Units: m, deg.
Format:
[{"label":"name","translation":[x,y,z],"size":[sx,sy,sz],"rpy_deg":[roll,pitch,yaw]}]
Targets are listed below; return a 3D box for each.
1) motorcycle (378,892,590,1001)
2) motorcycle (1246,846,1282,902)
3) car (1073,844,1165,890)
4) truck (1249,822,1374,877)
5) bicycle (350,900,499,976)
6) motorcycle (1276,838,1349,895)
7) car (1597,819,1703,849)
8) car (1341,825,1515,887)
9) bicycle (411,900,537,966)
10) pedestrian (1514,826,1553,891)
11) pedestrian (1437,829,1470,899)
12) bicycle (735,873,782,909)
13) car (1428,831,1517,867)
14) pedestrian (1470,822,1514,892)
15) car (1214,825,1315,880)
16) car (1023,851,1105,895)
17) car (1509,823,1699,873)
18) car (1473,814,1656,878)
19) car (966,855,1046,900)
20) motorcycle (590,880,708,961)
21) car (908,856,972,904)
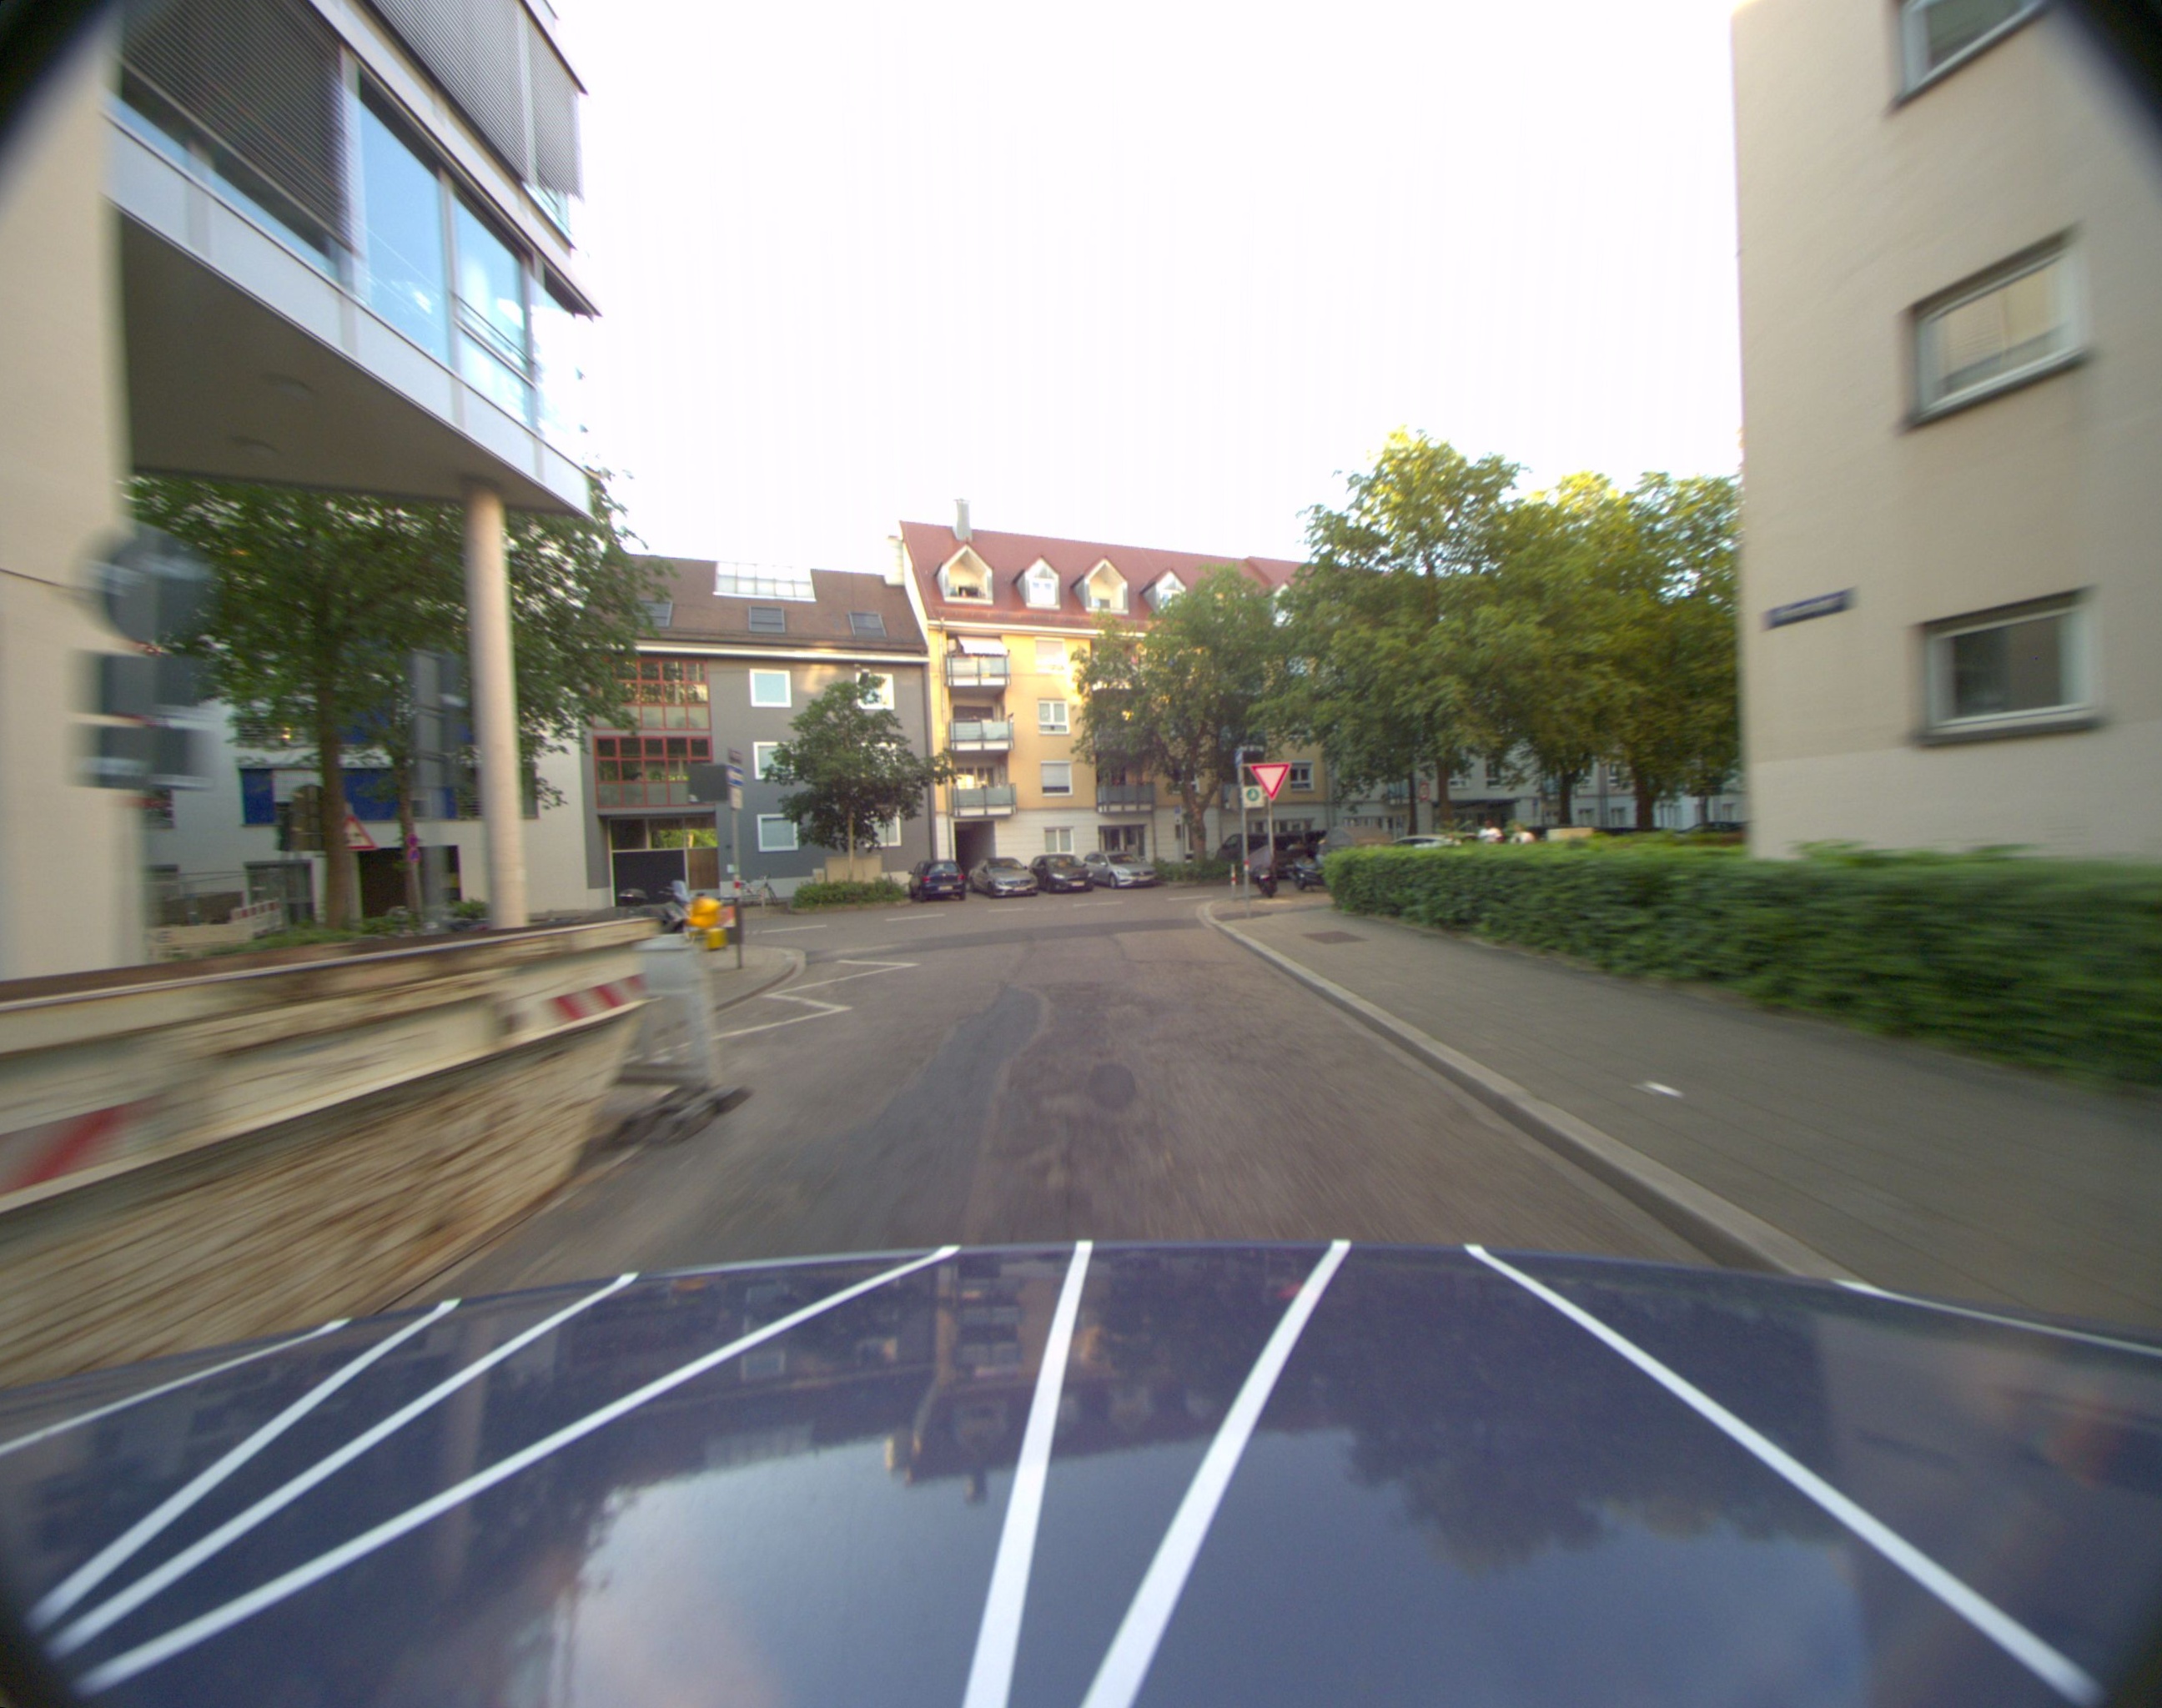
[{"label":"motorcycle","translation":[-8.003,1.207,10.308],"size":[2.128,1.266,0.615],"rpy_deg":[-2,0,-22]},{"label":"motorcycle","translation":[4.816,0.492,20.122],"size":[0.722,1.366,2.226],"rpy_deg":[-3,1,10]},{"label":"car","translation":[1.489,0.527,31.721],"size":[1.838,1.694,4.803],"rpy_deg":[-3,0,-23]},{"label":"truck","translation":[10.352,-0.313,34.776],"size":[2.263,2.122,6.009],"rpy_deg":[-3,4,-21]},{"label":"bicycle","translation":[-11.266,1.420,13.104],"size":[1.801,1.112,0.602],"rpy_deg":[-2,1,-21]},{"label":"motorcycle","translation":[6.430,0.343,21.250],"size":[0.692,1.485,2.221],"rpy_deg":[-3,1,-19]},{"label":"car","translation":[32.225,-1.149,43.218],"size":[1.774,1.544,4.577],"rpy_deg":[-3,3,-22]},{"label":"car","translation":[10.156,0.133,22.689],"size":[2.056,1.571,4.507],"rpy_deg":[-4,-1,-20]},{"label":"bicycle","translation":[-11.957,1.534,15.037],"size":[1.801,1.112,0.602],"rpy_deg":[-2,1,-21]},{"label":"pedestrian","translation":[11.118,0.104,18.684],"size":[0.448,1.563,0.660],"rpy_deg":[-4,3,-17]},{"label":"pedestrian","translation":[9.706,0.263,19.797],"size":[0.697,1.778,0.530],"rpy_deg":[-2,1,29]},{"label":"bicycle","translation":[-11.800,1.353,27.834],"size":[1.501,1.166,0.726],"rpy_deg":[-3,5,-20]},{"label":"car","translation":[19.566,-0.304,38.127],"size":[1.782,1.540,3.667],"rpy_deg":[-5,5,-23]},{"label":"pedestrian","translation":[10.811,0.080,20.009],"size":[0.666,1.778,0.698],"rpy_deg":[-3,1,-17]},{"label":"car","translation":[8.008,-0.155,33.632],"size":[2.038,2.122,4.624],"rpy_deg":[-3,4,-21]},{"label":"car","translation":[-0.755,0.729,30.499],"size":[1.855,1.554,4.073],"rpy_deg":[-3,0,-23]},{"label":"car","translation":[16.982,-0.132,24.981],"size":[2.074,1.416,4.723],"rpy_deg":[-3,0,-23]},{"label":"car","translation":[15.007,-0.185,23.900],"size":[2.066,1.674,4.403],"rpy_deg":[-3,-1,-23]},{"label":"car","translation":[-3.008,0.878,29.617],"size":[1.874,1.499,4.286],"rpy_deg":[-3,0,-22]},{"label":"motorcycle","translation":[-8.402,1.270,14.755],"size":[2.373,1.432,0.803],"rpy_deg":[-3,1,29]},{"label":"car","translation":[-5.358,0.905,28.508],"size":[1.747,1.517,3.355],"rpy_deg":[-3,3,-20]}]
